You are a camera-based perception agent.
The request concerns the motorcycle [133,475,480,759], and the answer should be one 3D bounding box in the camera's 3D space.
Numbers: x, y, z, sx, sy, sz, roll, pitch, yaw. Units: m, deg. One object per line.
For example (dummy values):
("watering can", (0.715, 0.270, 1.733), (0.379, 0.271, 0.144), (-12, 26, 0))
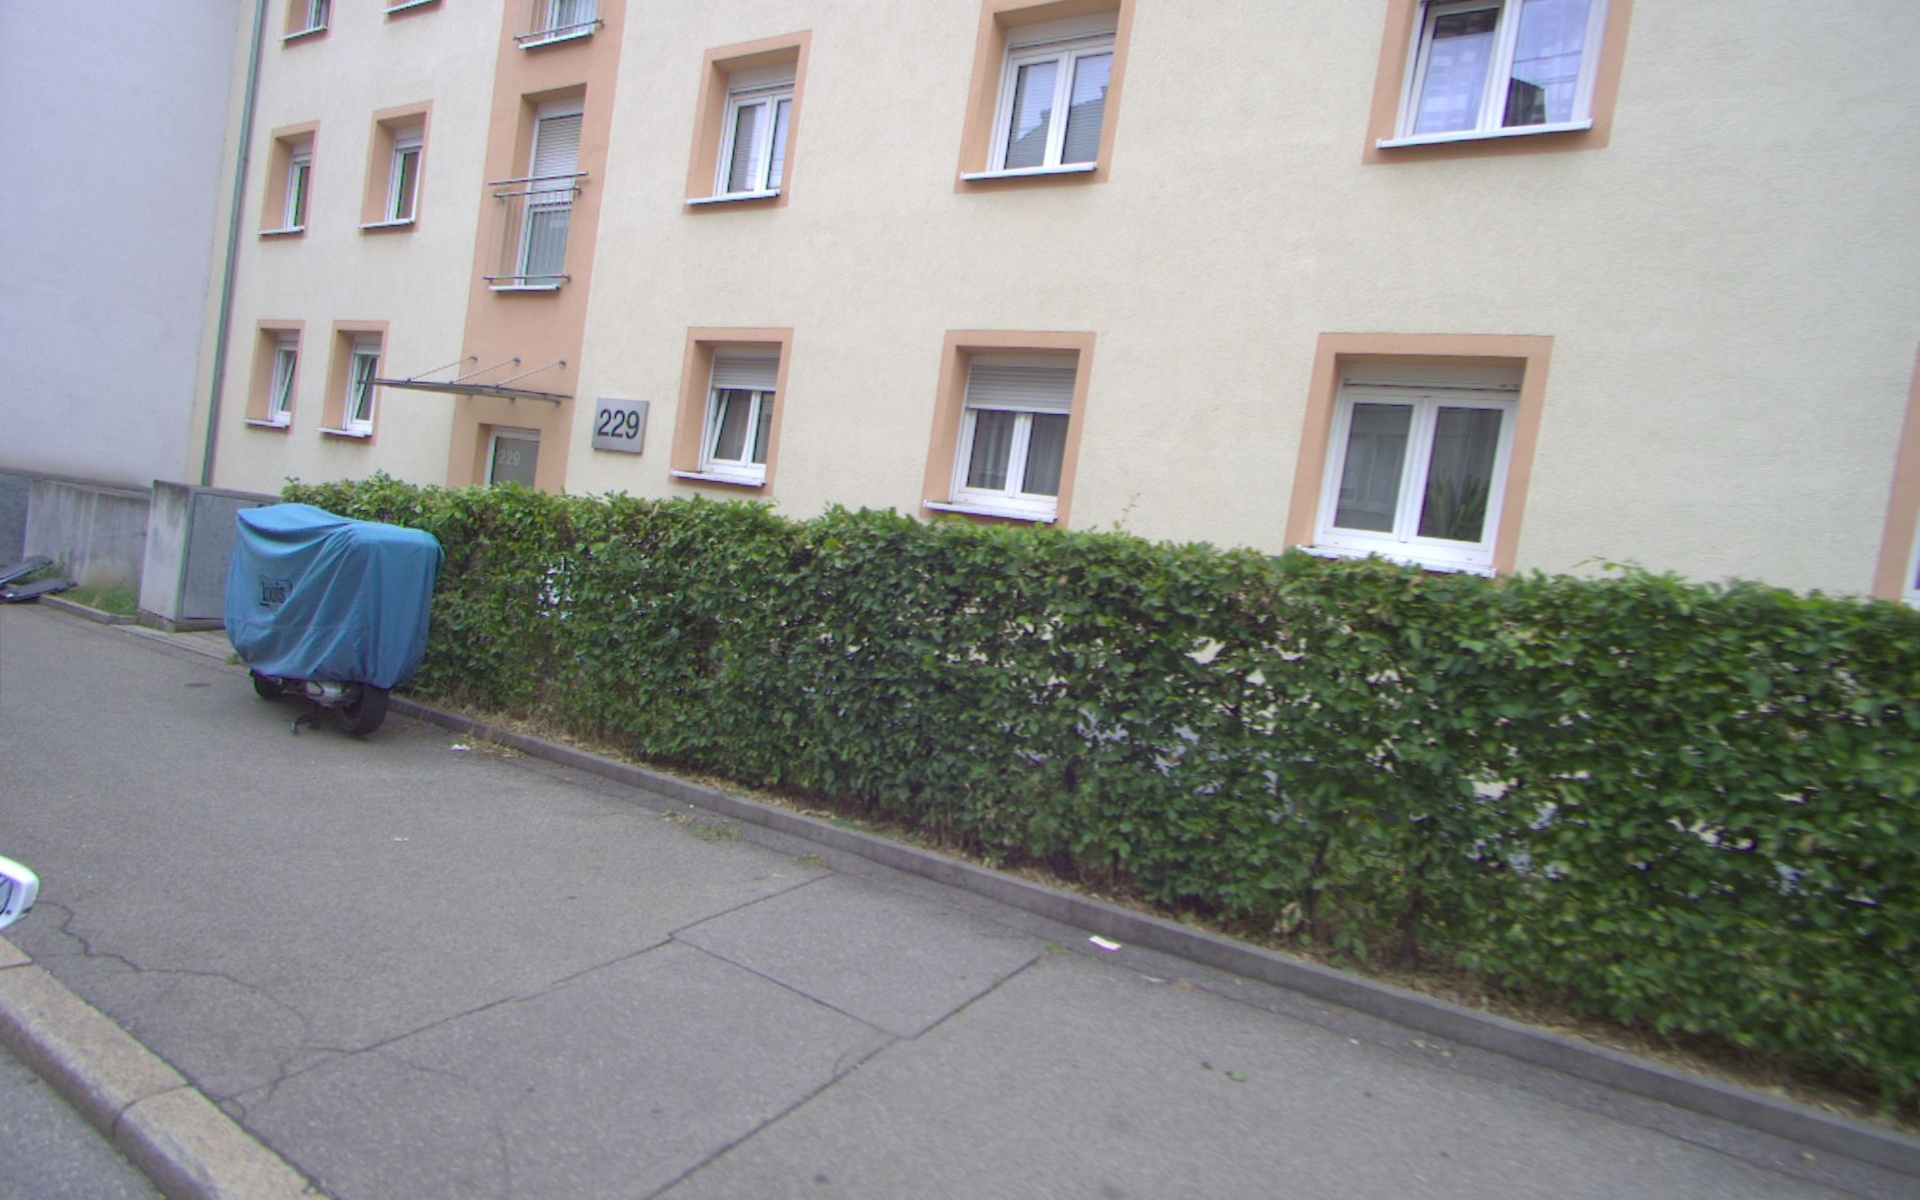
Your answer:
("motorcycle", (-4.378, 0.044, 6.647), (2.510, 1.475, 0.839), (8, 1, 32))
